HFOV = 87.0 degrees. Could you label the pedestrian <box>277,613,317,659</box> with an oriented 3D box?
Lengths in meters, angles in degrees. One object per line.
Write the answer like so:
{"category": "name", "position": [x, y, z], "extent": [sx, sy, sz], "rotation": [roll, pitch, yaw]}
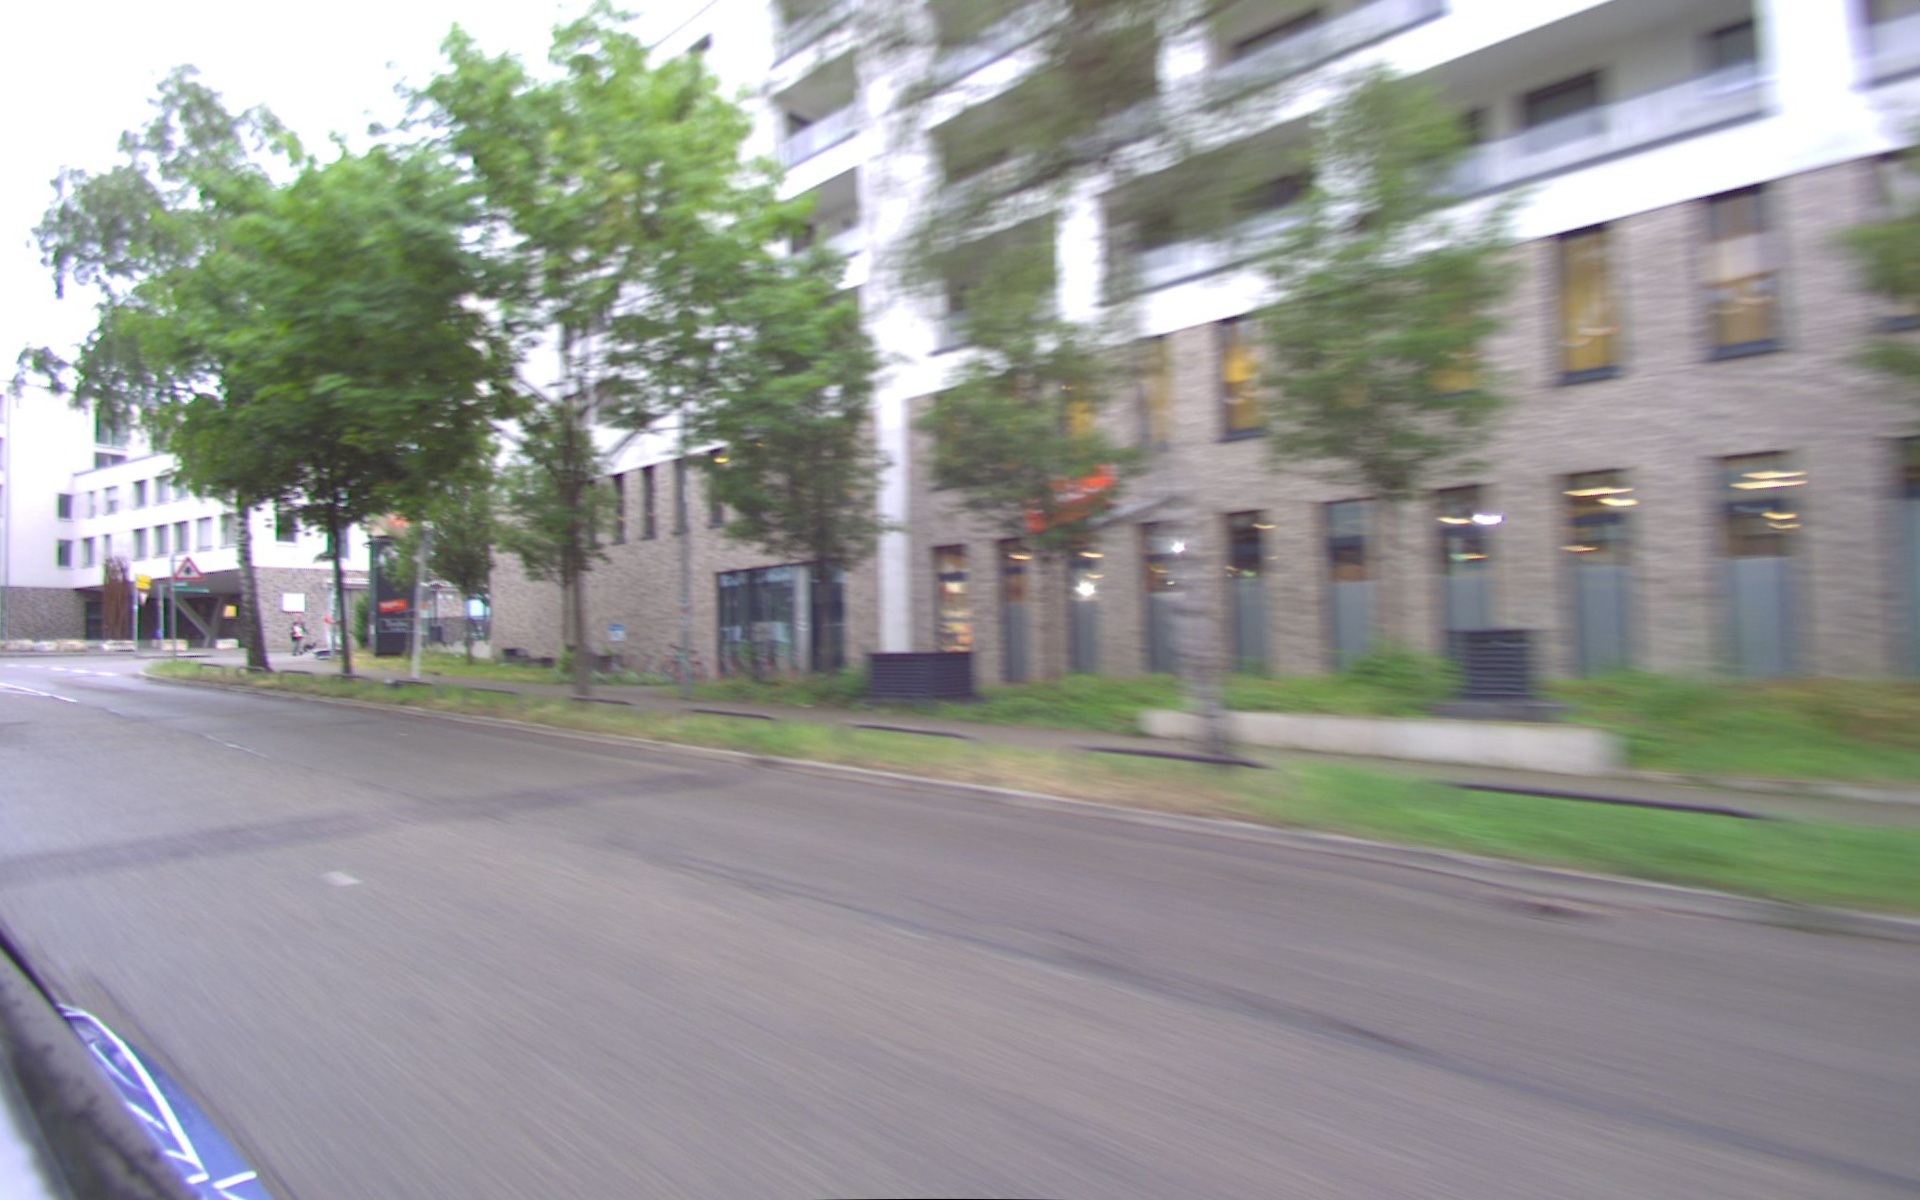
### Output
{"category": "pedestrian", "position": [-29.493, 1.588, 45.022], "extent": [1.088, 2.029, 1.055], "rotation": [0, -1, 11]}
